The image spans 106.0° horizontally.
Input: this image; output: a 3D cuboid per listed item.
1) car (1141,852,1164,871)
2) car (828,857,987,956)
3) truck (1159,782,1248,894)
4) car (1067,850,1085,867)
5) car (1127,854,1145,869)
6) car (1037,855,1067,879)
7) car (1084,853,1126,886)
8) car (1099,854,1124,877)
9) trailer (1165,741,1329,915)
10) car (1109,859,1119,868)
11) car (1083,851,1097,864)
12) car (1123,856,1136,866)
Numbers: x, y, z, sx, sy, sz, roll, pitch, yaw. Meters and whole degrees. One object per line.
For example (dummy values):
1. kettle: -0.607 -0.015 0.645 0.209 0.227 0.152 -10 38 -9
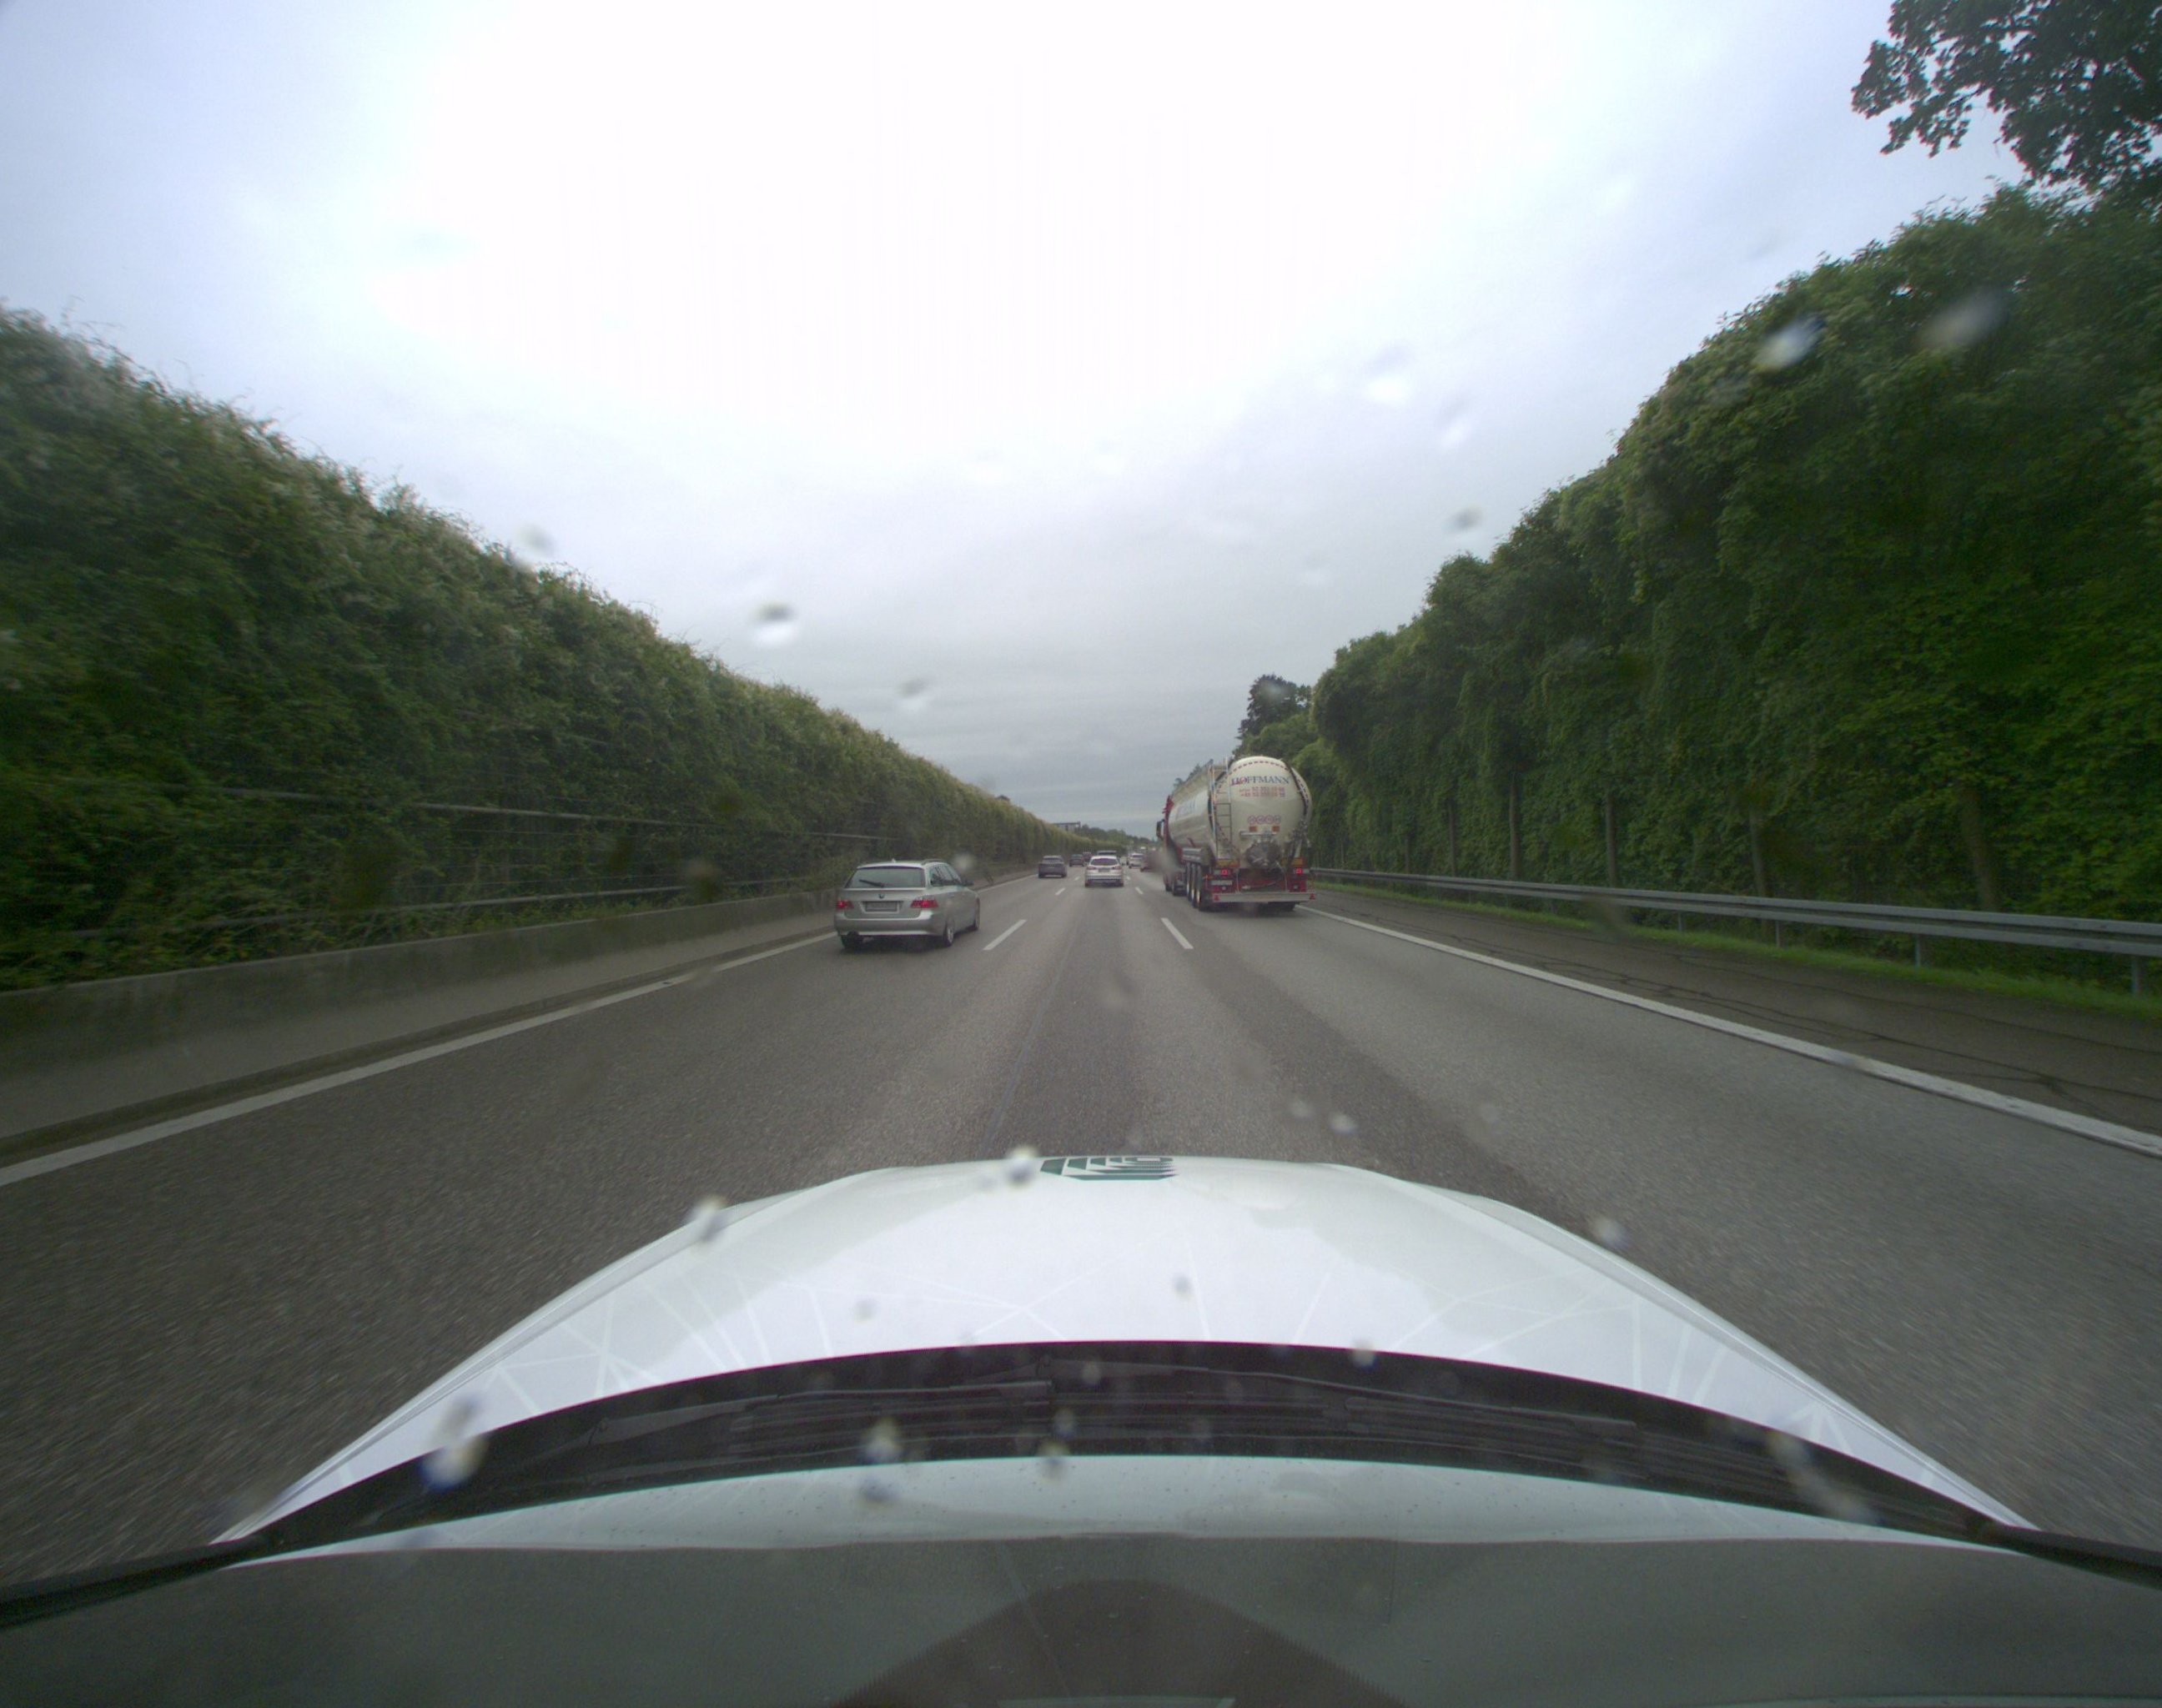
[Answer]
1. car: 6.092 0.625 69.854 1.808 1.625 5.034 0 0 3
2. car: -2.970 0.815 15.086 1.713 1.469 5.032 0 0 2
3. truck: 4.617 -0.544 31.911 2.685 3.912 6.558 0 -1 1
4. car: -0.544 0.484 98.567 1.986 2.013 3.843 -1 0 2
5. car: 5.782 0.757 85.212 1.683 1.506 3.872 0 -1 1
6. car: -1.915 0.841 55.170 1.713 1.512 5.032 0 0 2
7. car: 1.145 0.730 39.705 1.885 1.504 5.031 0 0 1
8. car: 2.312 0.857 61.031 1.682 1.506 3.875 4 1 3
9. trailer: 4.429 -0.533 24.964 2.658 3.939 13.133 0 0 1
10. car: 6.218 1.755 153.013 1.683 1.539 3.872 0 0 1
11. car: 1.412 0.552 128.447 1.986 2.013 4.002 -1 0 2
12. car: 6.487 0.997 109.382 1.682 1.331 3.873 0 0 2
